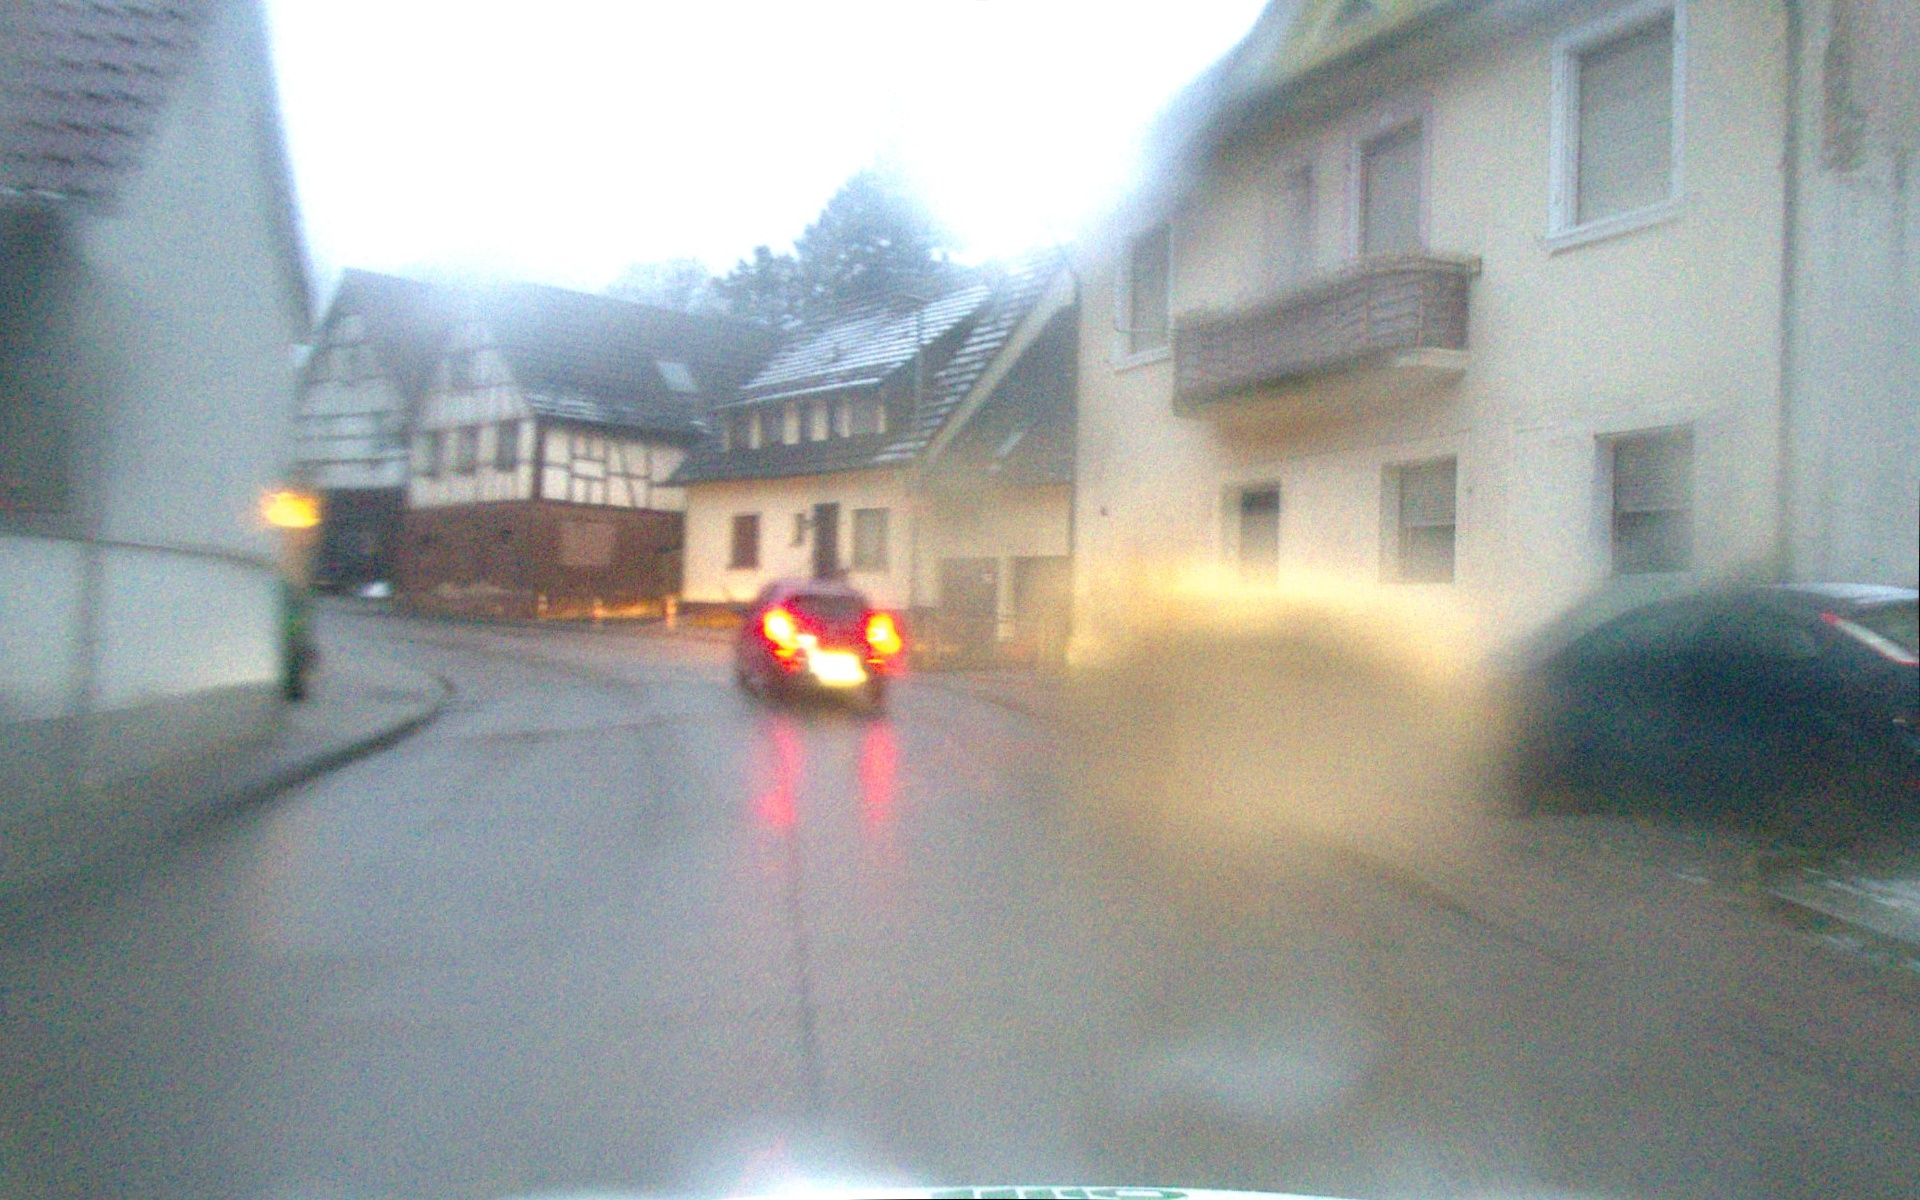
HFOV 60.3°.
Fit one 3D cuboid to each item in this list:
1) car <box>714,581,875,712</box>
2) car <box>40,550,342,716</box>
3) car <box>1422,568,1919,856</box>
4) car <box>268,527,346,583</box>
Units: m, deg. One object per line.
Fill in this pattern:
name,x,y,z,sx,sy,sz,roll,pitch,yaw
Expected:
car,-2.251,0.547,21.711,1.520,1.491,3.685,3,0,-14
car,-7.813,0.324,17.194,1.587,1.446,3.799,3,-1,-6
car,5.123,0.599,10.932,1.782,1.513,4.249,0,0,-22
car,-21.452,-1.497,54.271,1.579,1.541,3.940,-1,6,-34
